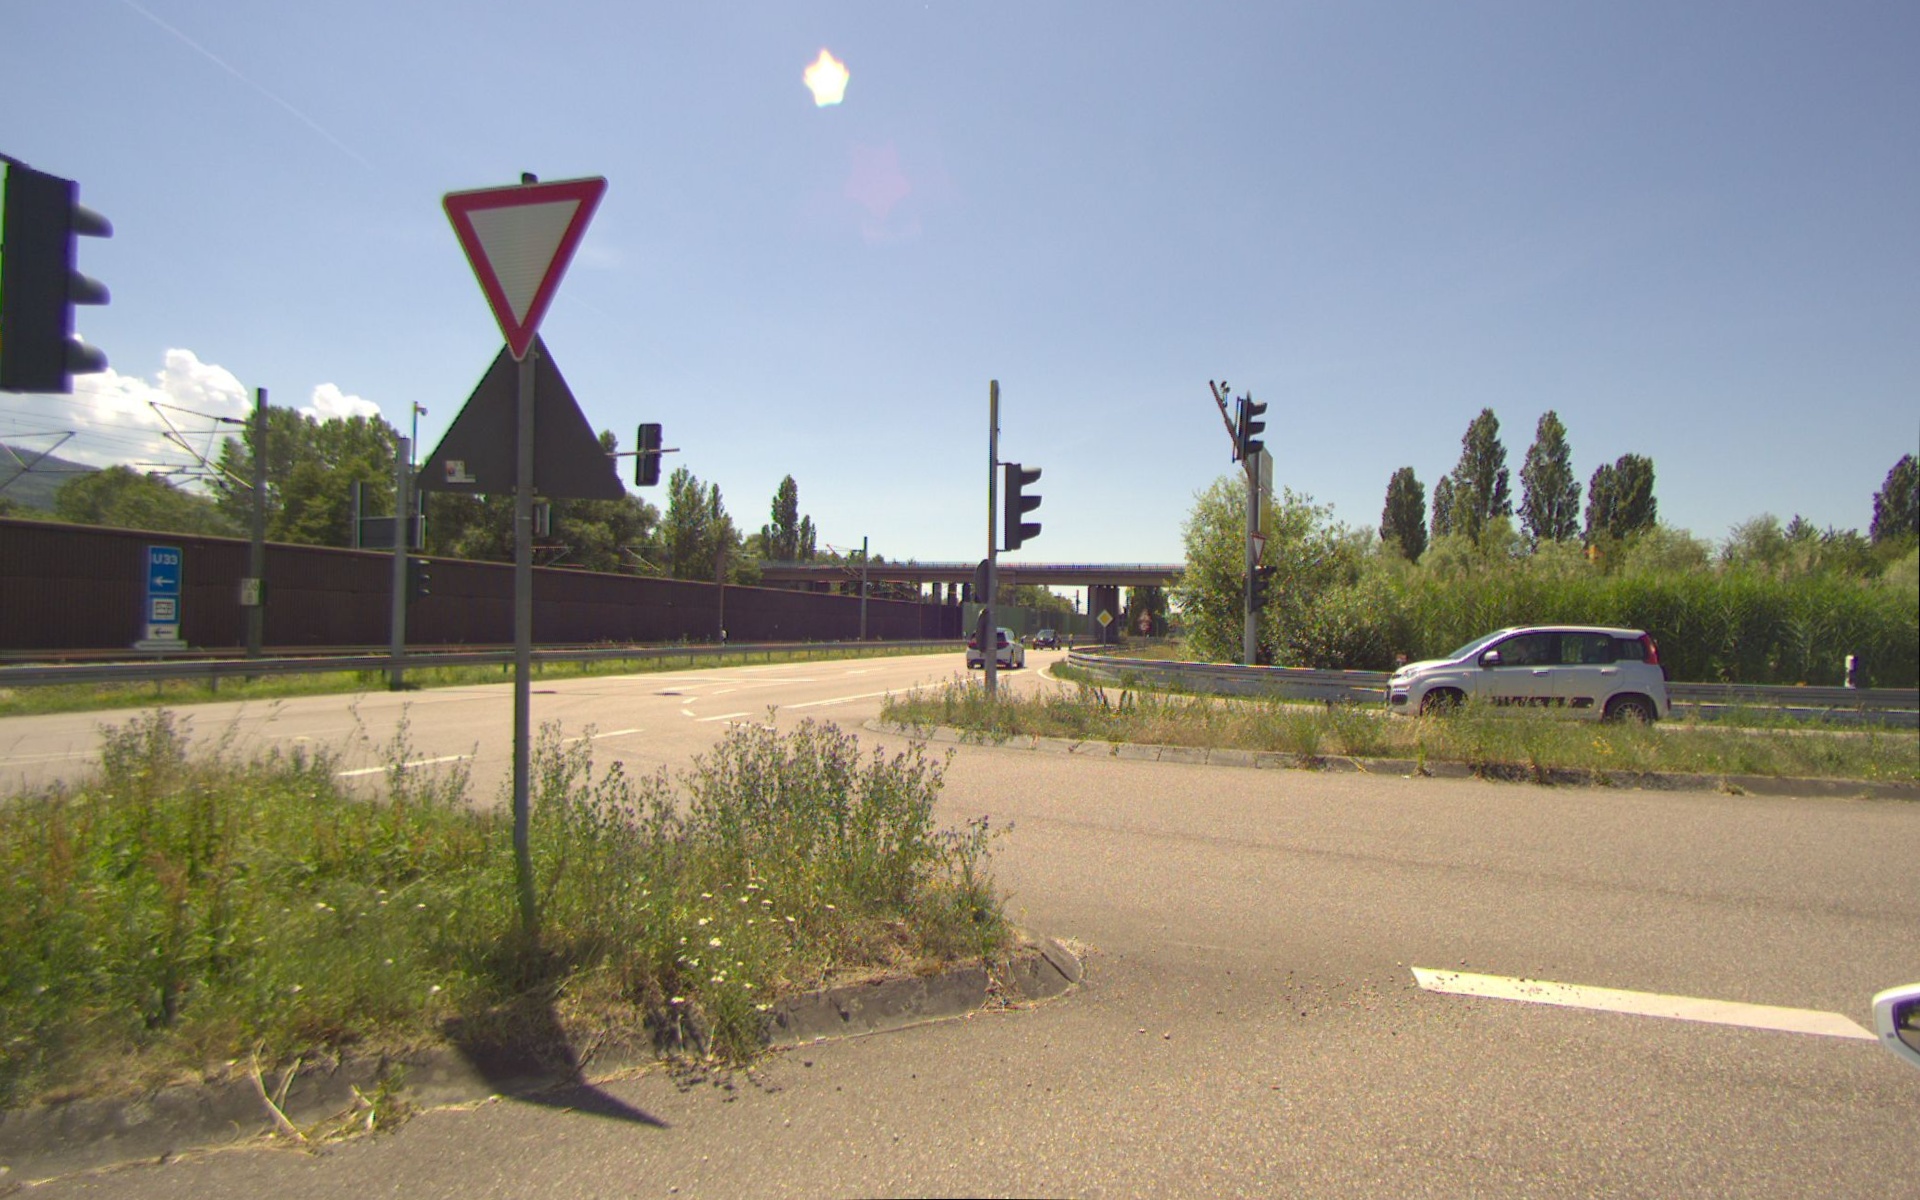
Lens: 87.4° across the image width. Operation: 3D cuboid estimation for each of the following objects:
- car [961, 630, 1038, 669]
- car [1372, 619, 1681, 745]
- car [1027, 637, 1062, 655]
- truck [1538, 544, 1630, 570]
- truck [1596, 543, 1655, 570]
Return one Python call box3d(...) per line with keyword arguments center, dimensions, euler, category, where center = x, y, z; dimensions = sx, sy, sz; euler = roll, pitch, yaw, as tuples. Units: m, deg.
box3d(center=(1.617, 1.895, 39.205), dimensions=(1.960, 1.416, 4.408), euler=(0, -2, 17), category="car")
box3d(center=(8.069, 1.128, 14.692), dimensions=(3.644, 1.653, 1.735), euler=(0, -2, 18), category="car")
box3d(center=(6.897, 3.740, 81.856), dimensions=(1.960, 1.416, 4.408), euler=(0, -2, 17), category="car")
box3d(center=(69.229, -4.750, 111.615), dimensions=(8.354, 2.709, 2.001), euler=(0, -2, 18), category="truck")
box3d(center=(73.057, -4.775, 110.387), dimensions=(5.006, 2.709, 2.001), euler=(0, -2, 19), category="truck")
